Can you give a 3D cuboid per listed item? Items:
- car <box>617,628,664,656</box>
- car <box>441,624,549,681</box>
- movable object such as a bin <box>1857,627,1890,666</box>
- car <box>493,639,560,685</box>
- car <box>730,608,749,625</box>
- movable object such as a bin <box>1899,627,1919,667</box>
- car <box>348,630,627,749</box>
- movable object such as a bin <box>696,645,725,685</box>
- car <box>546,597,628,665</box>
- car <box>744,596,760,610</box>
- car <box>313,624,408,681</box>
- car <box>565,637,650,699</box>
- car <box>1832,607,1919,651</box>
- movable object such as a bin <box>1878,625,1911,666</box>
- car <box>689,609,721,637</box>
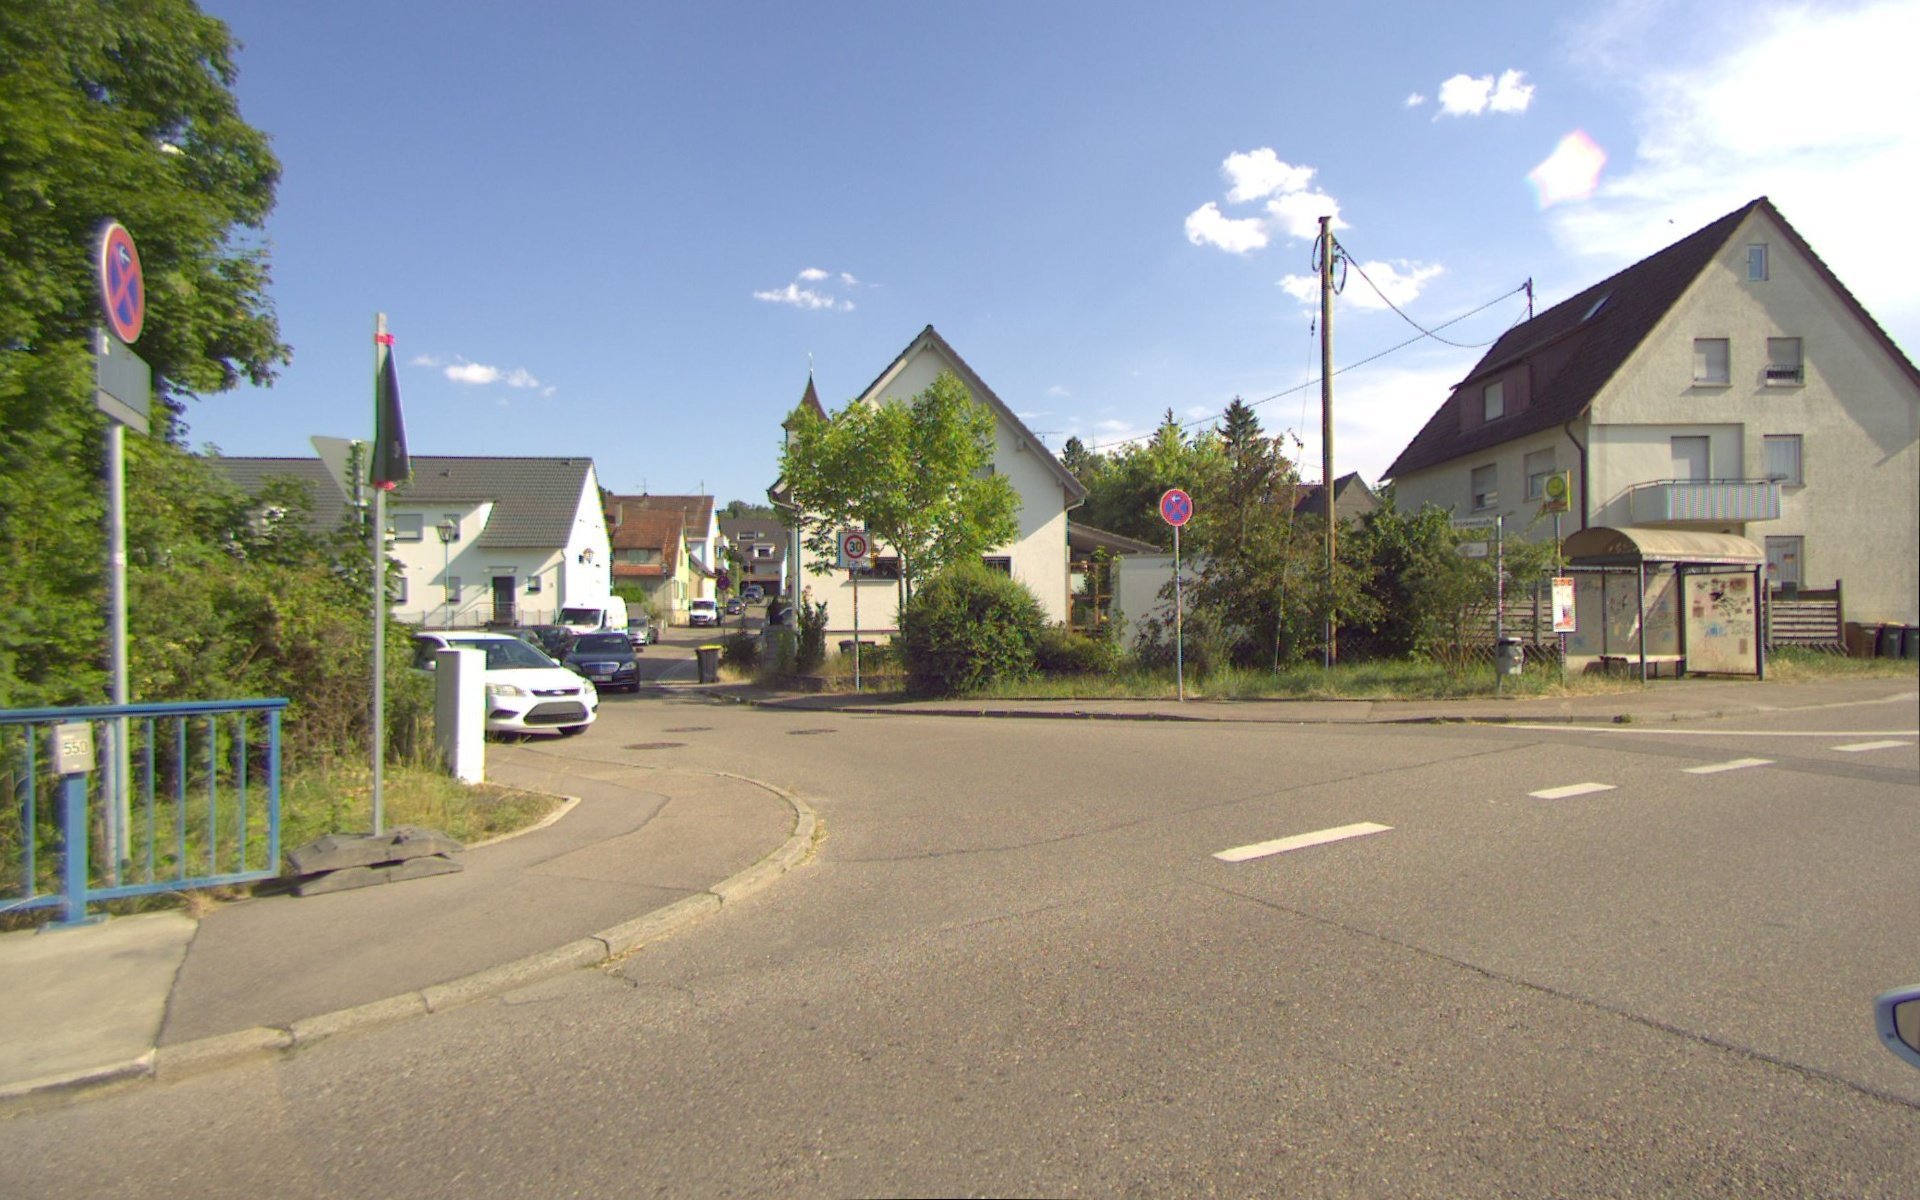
[{"bbox_3d":[-16.772,2.190,52.849,1.552,1.394,3.583,-1,-1,-5],"label":"car"},{"bbox_3d":[-14.797,1.620,32.262,2.080,1.711,4.580,0,-1,-11],"label":"car"},{"bbox_3d":[24.068,1.218,26.461,0.547,1.029,0.362,1,-1,-2],"label":"movable object such as a bin"},{"bbox_3d":[-14.913,2.091,34.717,1.743,1.450,4.028,0,-2,-18],"label":"car"},{"bbox_3d":[-22.081,1.684,100.739,1.668,1.641,3.287,0,-1,-8],"label":"car"},{"bbox_3d":[25.210,1.244,26.486,0.566,1.036,0.362,1,-1,-2],"label":"movable object such as a bin"},{"bbox_3d":[-6.962,1.200,14.682,4.205,1.511,1.856,-2,-2,35],"label":"car"},{"bbox_3d":[-7.278,1.884,29.278,0.693,1.104,0.682,0,-1,-27],"label":"movable object such as a bin"},{"bbox_3d":[-15.936,1.339,43.236,2.076,2.712,5.608,0,-2,-7],"label":"car"},{"bbox_3d":[-24.571,0.360,118.748,1.668,1.641,3.287,0,-1,-8],"label":"car"},{"bbox_3d":[-19.131,1.635,32.249,1.743,1.681,4.028,0,-2,-18],"label":"car"},{"bbox_3d":[-9.479,1.732,26.811,1.747,1.450,4.817,0,-2,-24],"label":"car"},{"bbox_3d":[32.015,0.955,34.025,1.652,1.379,4.001,-1,0,3],"label":"car"},{"bbox_3d":[24.629,1.203,26.466,0.547,1.055,0.362,1,-1,-2],"label":"movable object such as a bin"},{"bbox_3d":[-19.944,1.802,78.660,1.963,2.154,3.995,0,-1,-8],"label":"car"}]
